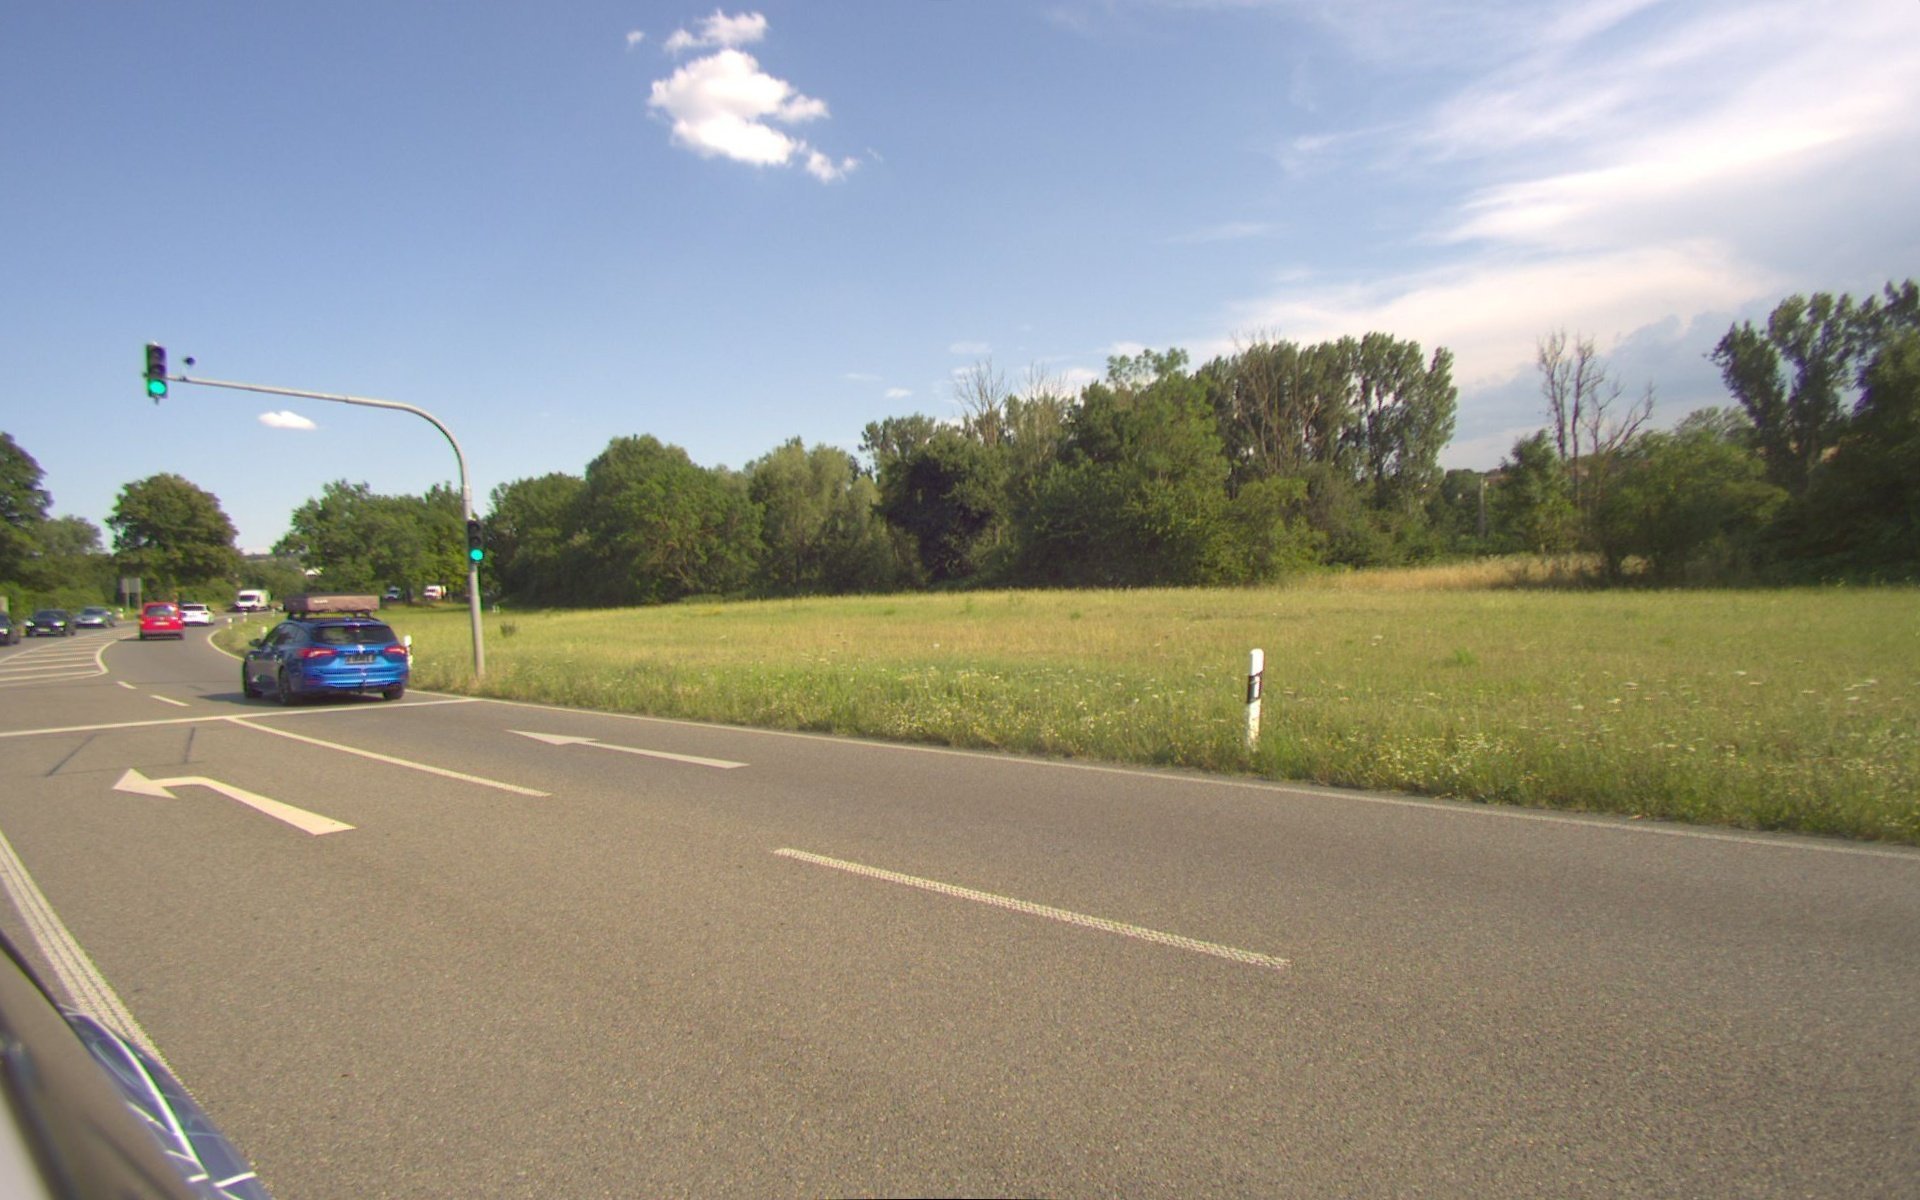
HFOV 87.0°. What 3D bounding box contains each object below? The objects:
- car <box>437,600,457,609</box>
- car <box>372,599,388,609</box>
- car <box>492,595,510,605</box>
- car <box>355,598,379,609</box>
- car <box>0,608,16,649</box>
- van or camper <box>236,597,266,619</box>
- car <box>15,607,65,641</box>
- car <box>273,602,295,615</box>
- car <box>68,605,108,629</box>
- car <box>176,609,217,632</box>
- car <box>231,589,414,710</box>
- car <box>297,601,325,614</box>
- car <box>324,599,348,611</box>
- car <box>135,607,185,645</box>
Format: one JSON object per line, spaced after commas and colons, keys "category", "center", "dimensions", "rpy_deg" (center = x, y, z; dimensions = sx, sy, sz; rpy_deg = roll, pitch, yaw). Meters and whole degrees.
{"category": "car", "center": [-93.115, 0.818, 183.607], "dimensions": [1.968, 1.563, 4.008], "rpy_deg": [-3, 2, -8]}
{"category": "car", "center": [-98.237, 0.715, 171.550], "dimensions": [1.395, 1.560, 3.175], "rpy_deg": [-3, 1, -12]}
{"category": "car", "center": [-95.932, 0.037, 211.630], "dimensions": [1.971, 1.871, 4.003], "rpy_deg": [-3, 2, -3]}
{"category": "car", "center": [-87.227, 0.503, 148.867], "dimensions": [1.902, 1.598, 4.083], "rpy_deg": [0, 0, -11]}
{"category": "car", "center": [-42.765, 1.246, 44.363], "dimensions": [1.667, 1.741, 3.676], "rpy_deg": [0, 0, -37]}
{"category": "van or camper", "center": [-82.381, 0.910, 117.587], "dimensions": [2.000, 2.494, 5.094], "rpy_deg": [-3, 1, -26]}
{"category": "car", "center": [-50.194, 1.272, 55.271], "dimensions": [1.647, 1.741, 3.677], "rpy_deg": [0, 0, -36]}
{"category": "car", "center": [-77.188, 0.953, 115.628], "dimensions": [1.721, 1.478, 3.490], "rpy_deg": [0, 0, -27]}
{"category": "car", "center": [-60.320, 1.181, 70.059], "dimensions": [1.608, 1.570, 3.427], "rpy_deg": [0, 0, -32]}
{"category": "car", "center": [-56.107, 1.506, 74.423], "dimensions": [1.854, 1.598, 4.343], "rpy_deg": [0, -1, -30]}
{"category": "car", "center": [-11.352, 0.827, 17.893], "dimensions": [4.336, 1.897, 1.705], "rpy_deg": [-2, -2, 43]}
{"category": "car", "center": [-89.246, 1.021, 139.161], "dimensions": [1.967, 1.563, 4.011], "rpy_deg": [-3, 2, -14]}
{"category": "car", "center": [-92.693, 0.732, 150.457], "dimensions": [1.966, 1.563, 4.012], "rpy_deg": [-3, 2, -16]}
{"category": "car", "center": [-40.285, 1.302, 50.933], "dimensions": [1.857, 1.789, 4.328], "rpy_deg": [0, -2, -40]}
